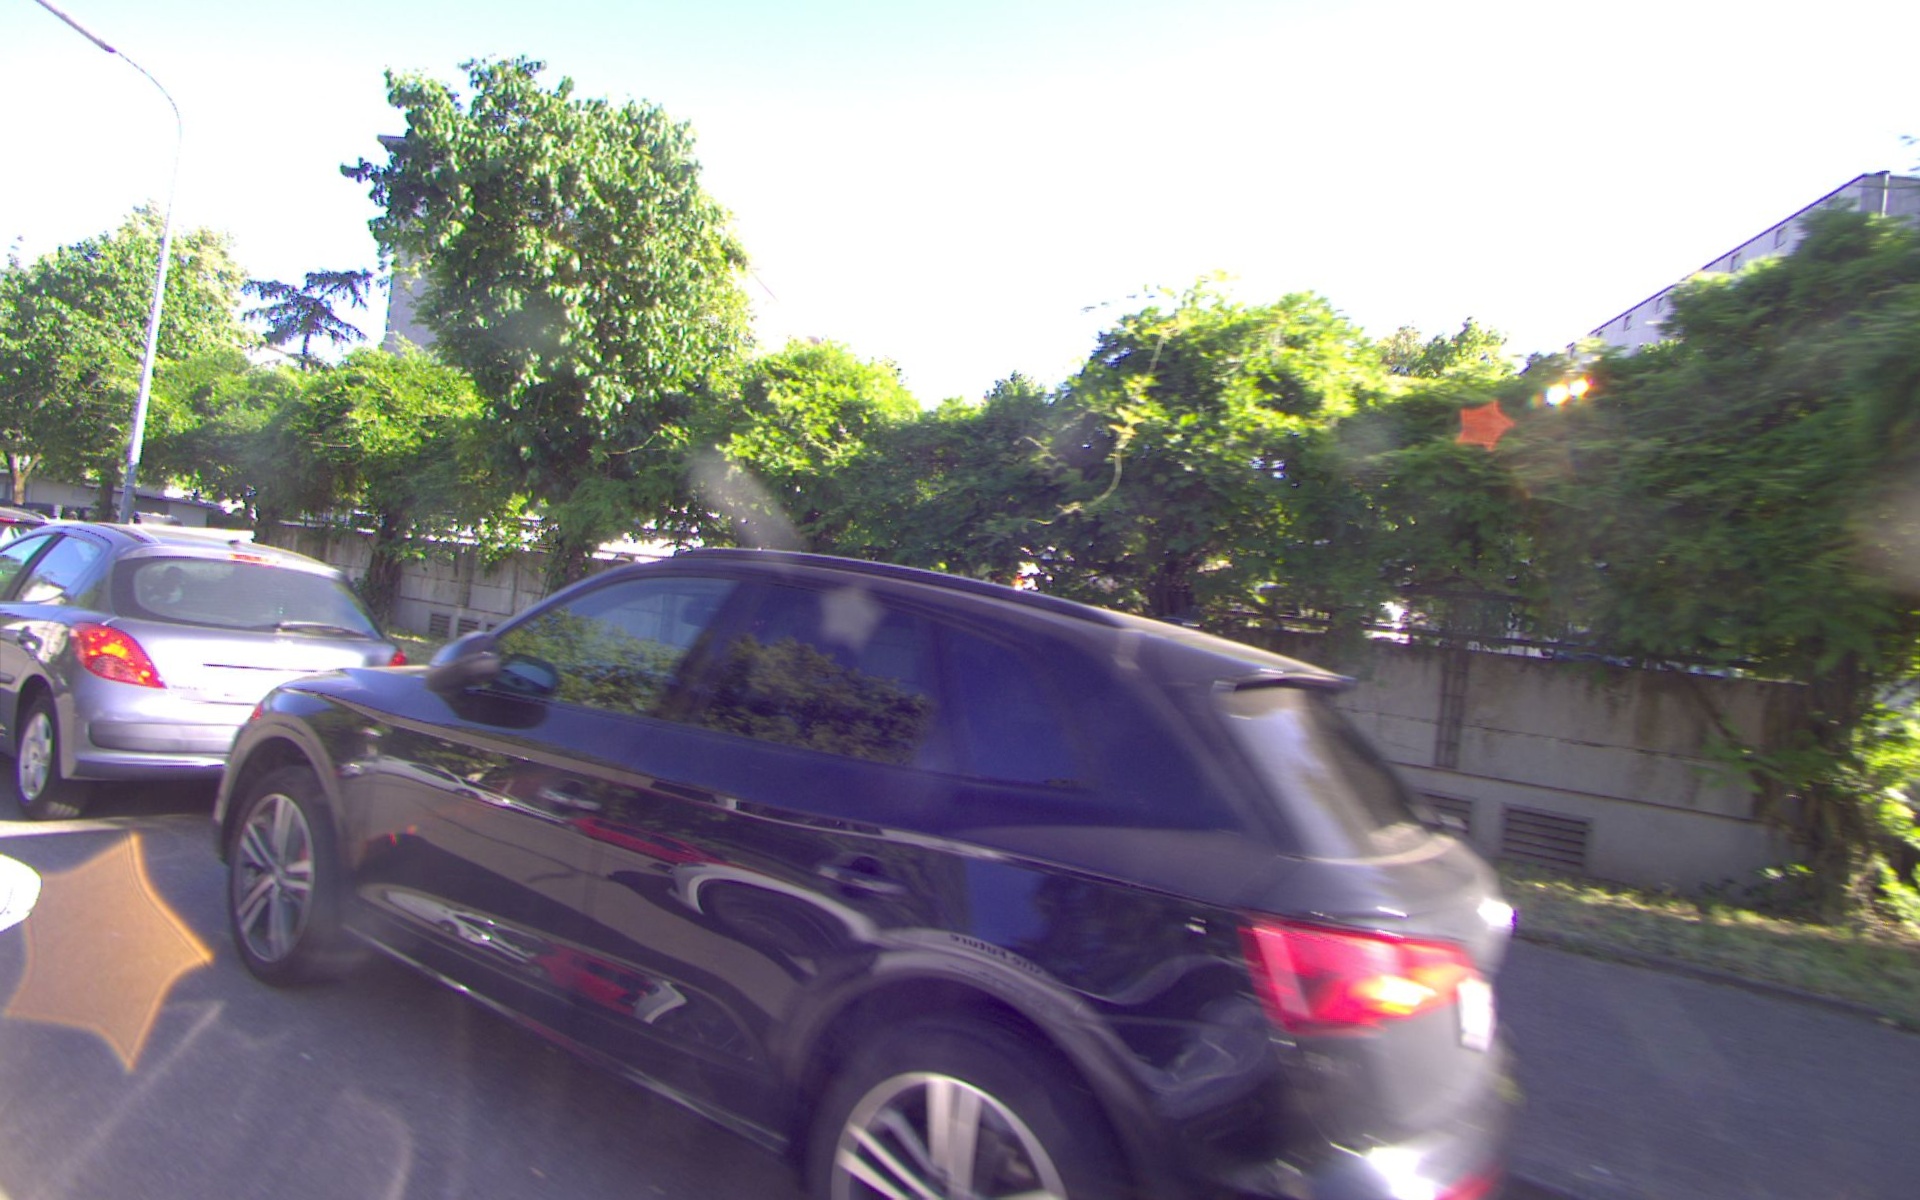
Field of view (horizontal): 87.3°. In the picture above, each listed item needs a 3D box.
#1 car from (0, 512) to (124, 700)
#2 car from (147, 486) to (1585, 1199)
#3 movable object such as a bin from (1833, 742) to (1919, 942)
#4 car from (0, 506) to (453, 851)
[{"bbox_3d":[-9.459,-0.163,8.975,4.220,1.473,1.685,6,-2,31],"label":"car"},{"bbox_3d":[-0.602,0.724,3.371,4.388,1.683,1.813,7,-2,32],"label":"car"},{"bbox_3d":[7.656,1.871,7.558,1.360,1.322,1.413,6,0,34],"label":"movable object such as a bin"},{"bbox_3d":[-5.117,0.306,6.223,3.761,1.504,1.688,6,-3,32],"label":"car"}]
